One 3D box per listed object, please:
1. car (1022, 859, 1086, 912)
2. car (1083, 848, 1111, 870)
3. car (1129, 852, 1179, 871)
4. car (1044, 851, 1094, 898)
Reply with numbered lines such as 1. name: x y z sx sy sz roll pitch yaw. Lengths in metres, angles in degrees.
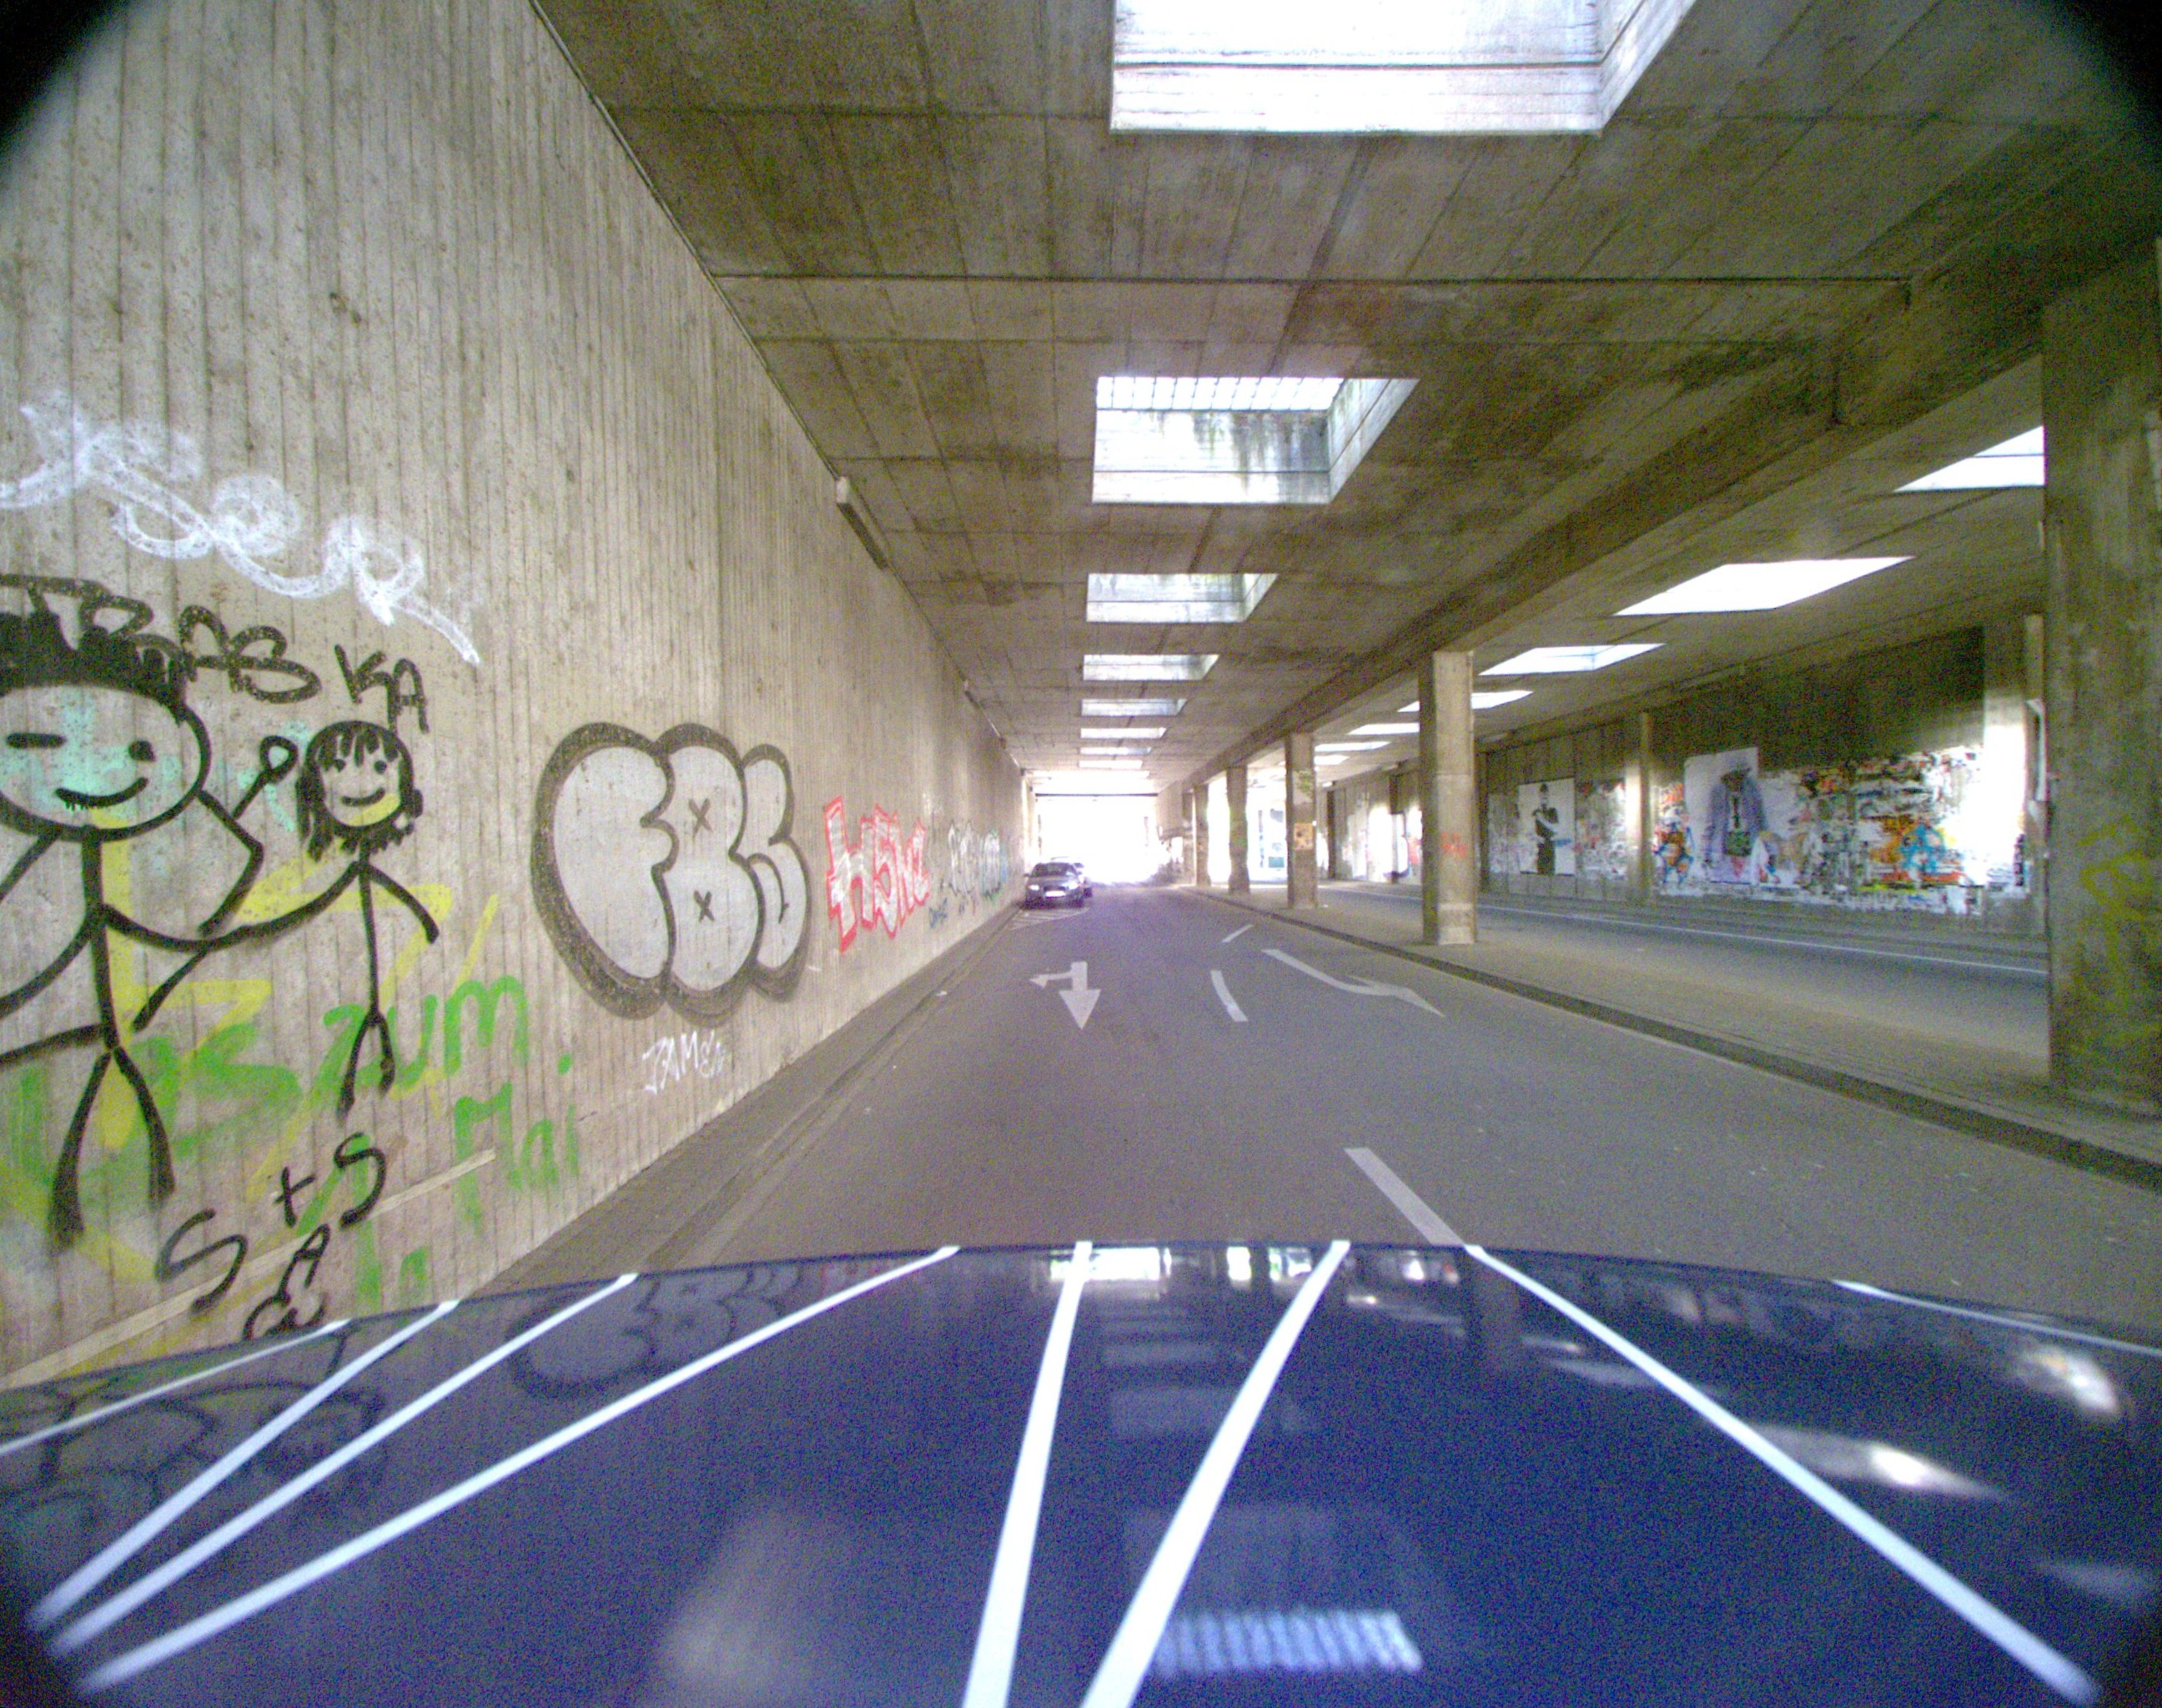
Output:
1. car: -0.762 0.925 24.045 1.767 1.407 3.999 -2 1 1
2. car: 1.293 0.390 64.004 1.999 1.740 4.858 -2 1 -2
3. car: 7.602 0.774 79.309 4.857 1.740 1.999 -2 1 -2
4. car: -0.494 0.742 29.819 1.767 1.634 3.999 -2 1 -2
